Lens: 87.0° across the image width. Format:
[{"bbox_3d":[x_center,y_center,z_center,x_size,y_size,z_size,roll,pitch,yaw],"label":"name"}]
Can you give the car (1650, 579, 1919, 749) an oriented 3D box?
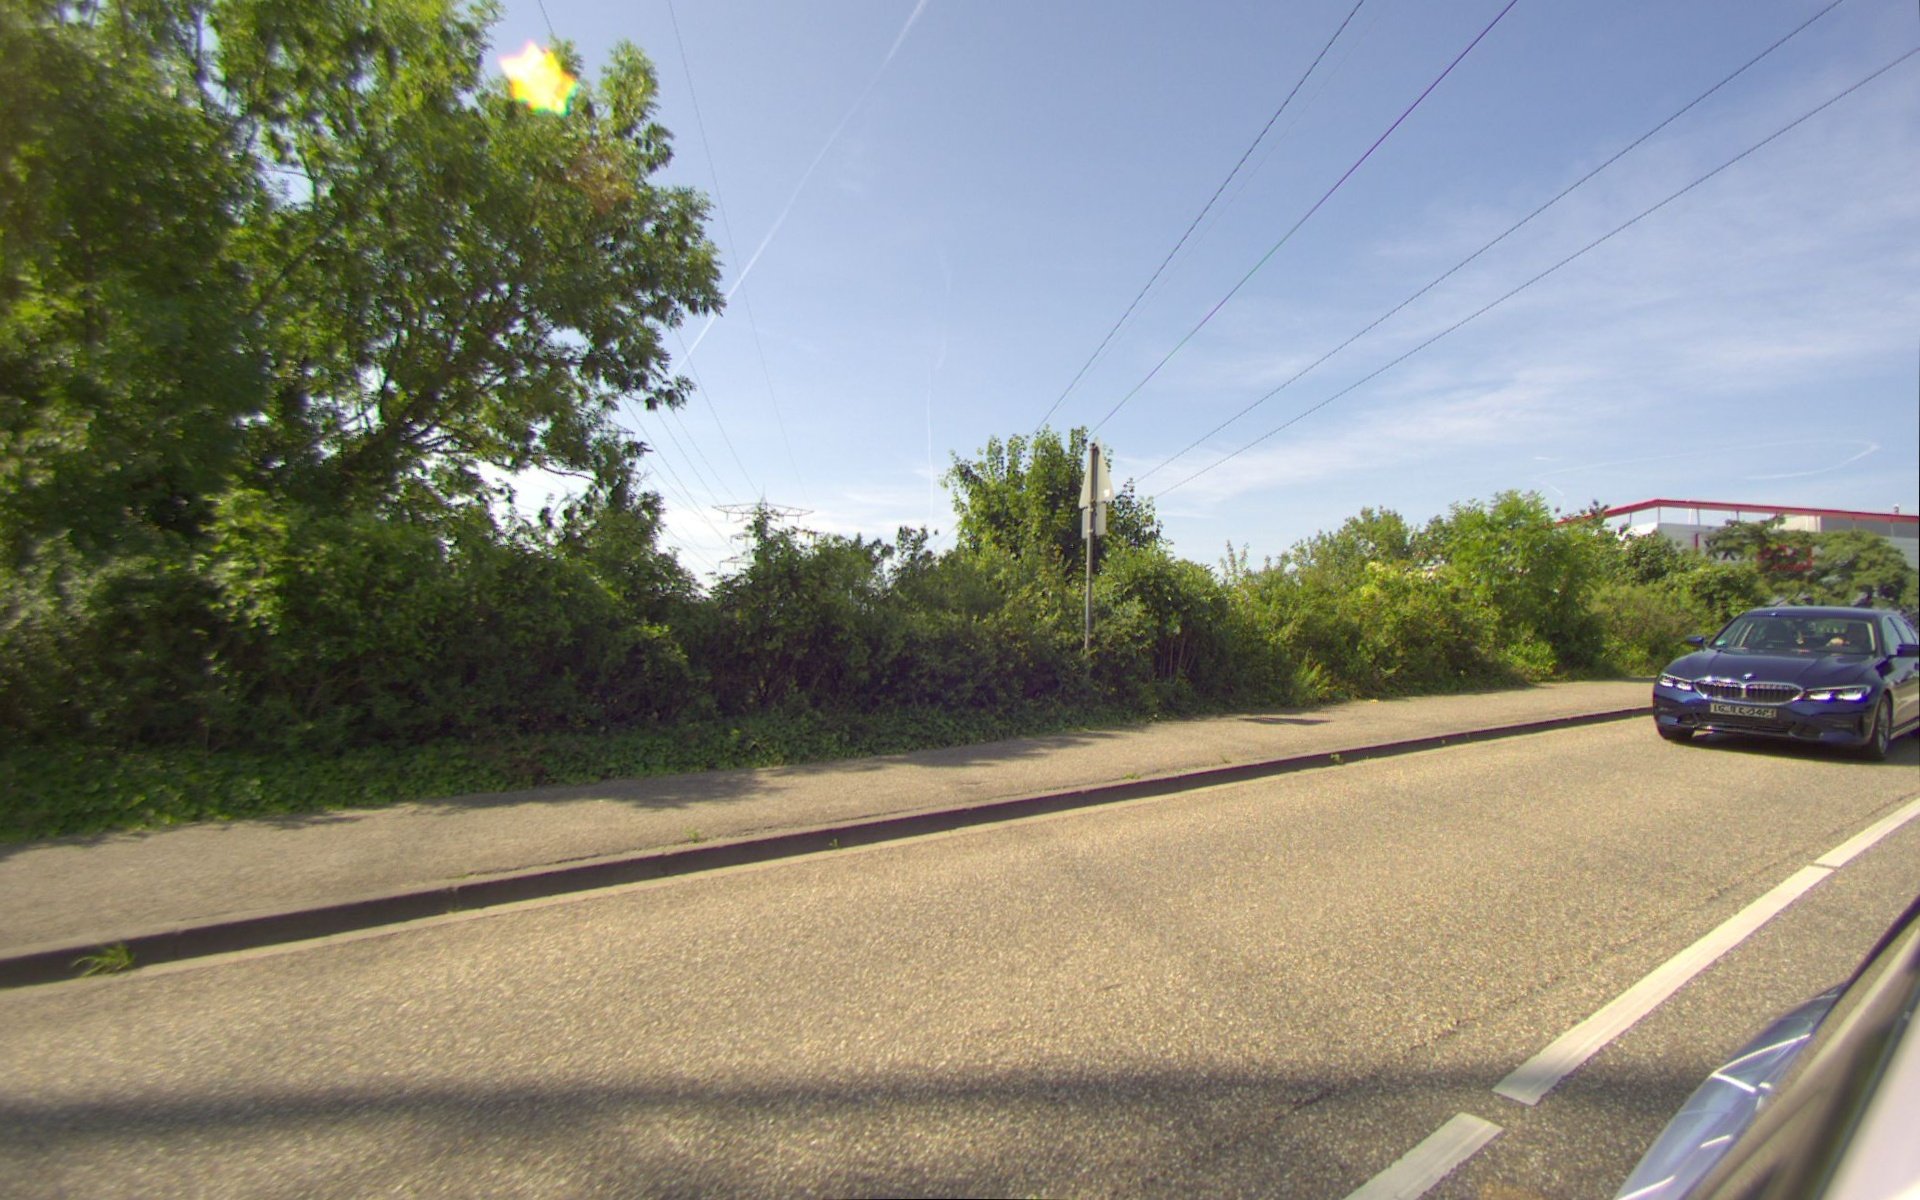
[{"bbox_3d":[9.388,0.716,11.034,4.435,1.503,1.791,4,-4,-38],"label":"car"}]
